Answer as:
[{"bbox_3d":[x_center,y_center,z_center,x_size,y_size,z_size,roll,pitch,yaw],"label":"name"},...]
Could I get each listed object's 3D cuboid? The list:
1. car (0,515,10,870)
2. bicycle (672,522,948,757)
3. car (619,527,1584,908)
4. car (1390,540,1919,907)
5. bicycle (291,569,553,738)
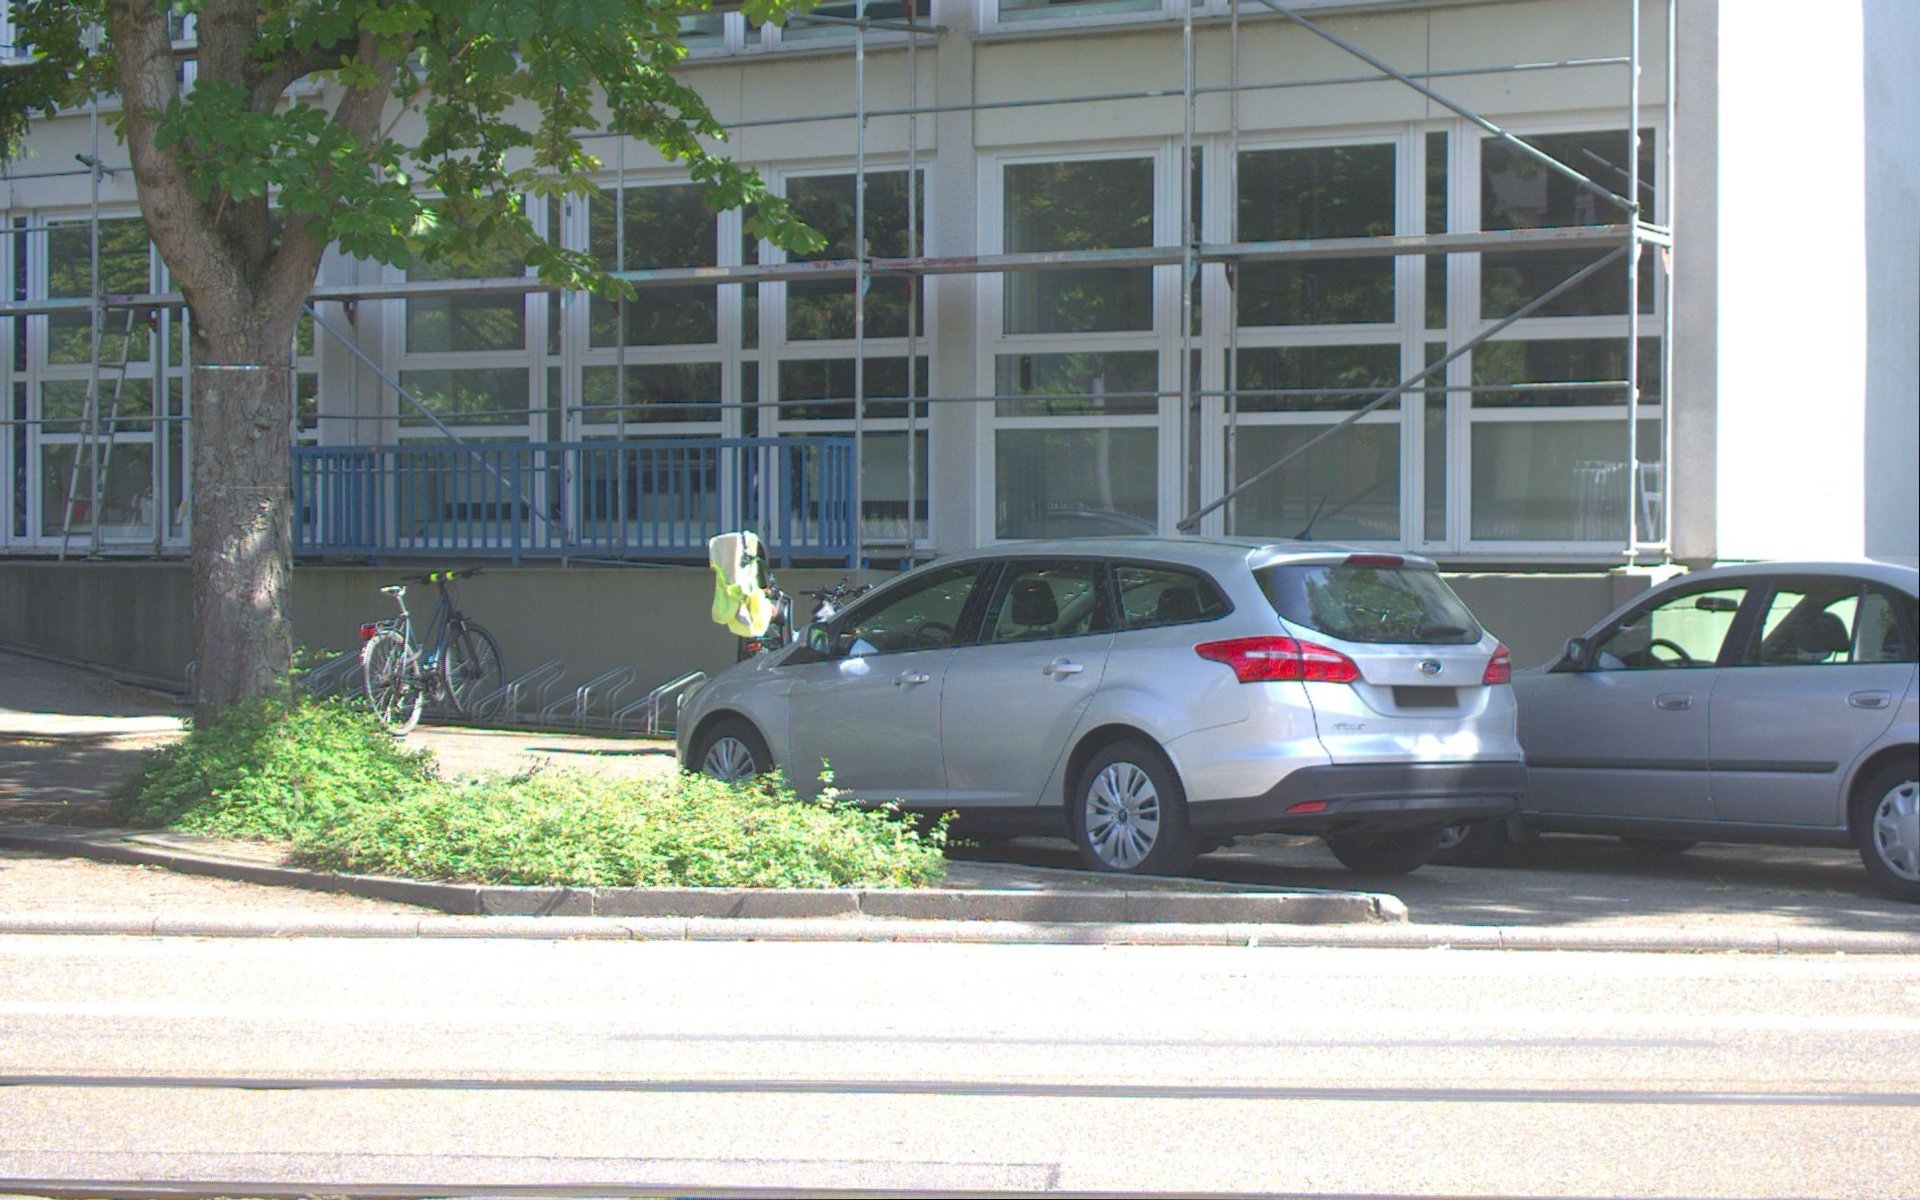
[{"bbox_3d":[-5.838,0.378,15.562,1.572,1.526,3.457,0,1,-42],"label":"car"},{"bbox_3d":[-0.941,0.237,22.249,0.662,1.448,2.086,1,0,34],"label":"bicycle"},{"bbox_3d":[0.495,0.431,15.619,1.779,1.481,4.433,0,1,-42],"label":"car"},{"bbox_3d":[3.901,0.489,15.112,1.608,1.481,3.944,0,1,-40],"label":"car"},{"bbox_3d":[-3.616,0.338,23.338,0.742,1.082,2.201,1,0,21],"label":"bicycle"}]
